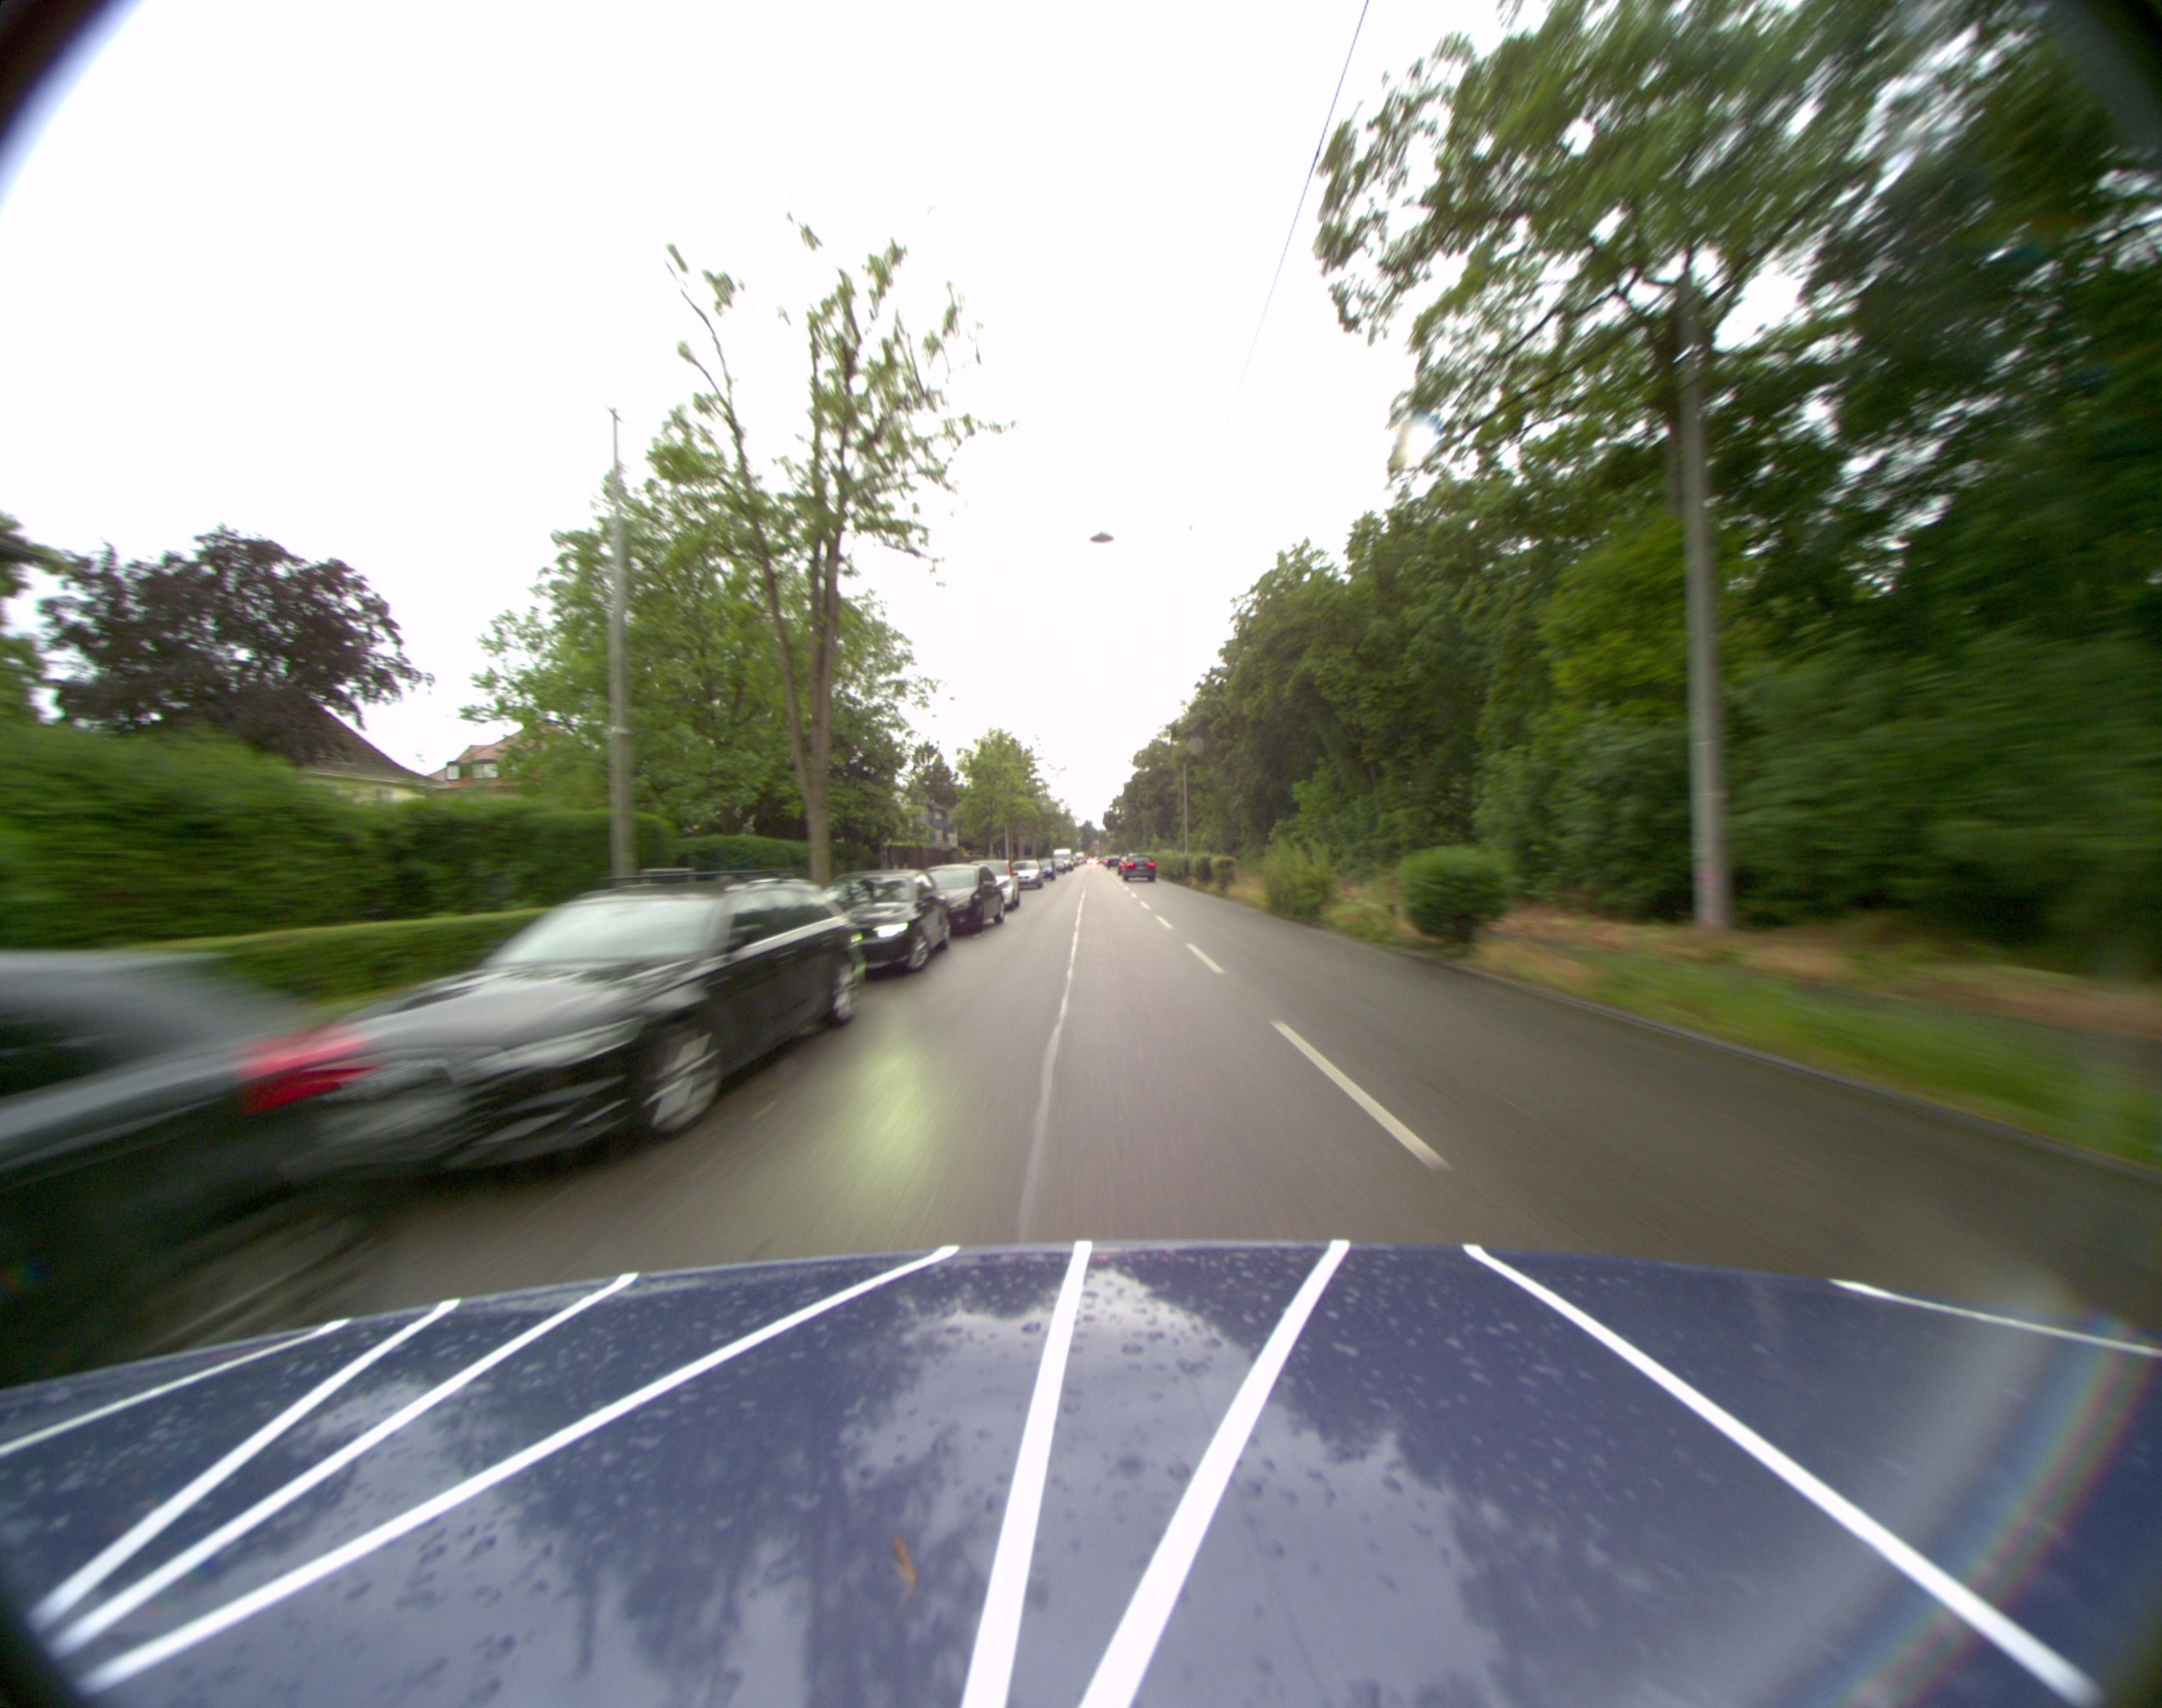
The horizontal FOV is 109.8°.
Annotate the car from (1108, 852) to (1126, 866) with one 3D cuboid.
[{"bbox_3d":[4.153,0.551,87.931,1.851,1.490,3.999,0,0,-1],"label":"car"}]

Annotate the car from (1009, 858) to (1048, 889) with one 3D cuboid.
[{"bbox_3d":[-2.698,0.983,39.477,1.675,1.420,3.699,-3,0,1],"label":"car"}]

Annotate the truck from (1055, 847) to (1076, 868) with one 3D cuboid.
[{"bbox_3d":[-1.752,0.398,85.799,2.230,2.321,5.113,0,0,0],"label":"truck"}]

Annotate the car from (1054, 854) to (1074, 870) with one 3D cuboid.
[{"bbox_3d":[-1.611,0.768,73.192,1.789,1.452,3.999,0,0,0],"label":"car"}]

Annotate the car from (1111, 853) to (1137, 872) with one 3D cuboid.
[{"bbox_3d":[3.418,0.666,61.241,1.718,1.438,4.051,0,0,-2],"label":"car"}]

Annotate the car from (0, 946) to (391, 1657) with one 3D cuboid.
[{"bbox_3d":[-3.301,1.092,0.640,1.621,1.462,3.945,-3,0,3],"label":"car"}]

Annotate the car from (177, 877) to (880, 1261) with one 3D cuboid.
[{"bbox_3d":[-3.168,1.063,5.885,1.757,1.517,4.823,-3,0,1],"label":"car"}]

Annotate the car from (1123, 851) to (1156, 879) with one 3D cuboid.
[{"bbox_3d":[3.539,0.624,46.380,1.680,1.608,4.062,0,0,0],"label":"car"}]

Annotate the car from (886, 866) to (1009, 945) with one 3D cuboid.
[{"bbox_3d":[-2.844,1.049,17.053,1.732,1.402,4.001,-3,0,4],"label":"car"}]

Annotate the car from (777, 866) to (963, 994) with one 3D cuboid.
[{"bbox_3d":[-3.018,1.002,11.856,1.621,1.459,4.410,-3,0,0],"label":"car"}]

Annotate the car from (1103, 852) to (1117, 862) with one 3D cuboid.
[{"bbox_3d":[4.457,0.480,116.183,1.998,1.543,4.000,0,0,0],"label":"car"}]

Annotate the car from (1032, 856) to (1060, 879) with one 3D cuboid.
[{"bbox_3d":[-2.382,0.885,52.608,1.675,1.420,3.699,-3,0,1],"label":"car"}]

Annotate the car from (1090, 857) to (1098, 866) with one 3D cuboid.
[{"bbox_3d":[3.221,1.897,188.511,1.998,2.002,4.000,-2,1,3],"label":"car"}]

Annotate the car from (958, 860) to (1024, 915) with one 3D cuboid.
[{"bbox_3d":[-2.729,0.978,23.509,1.601,1.508,2.801,-3,0,1],"label":"car"}]
